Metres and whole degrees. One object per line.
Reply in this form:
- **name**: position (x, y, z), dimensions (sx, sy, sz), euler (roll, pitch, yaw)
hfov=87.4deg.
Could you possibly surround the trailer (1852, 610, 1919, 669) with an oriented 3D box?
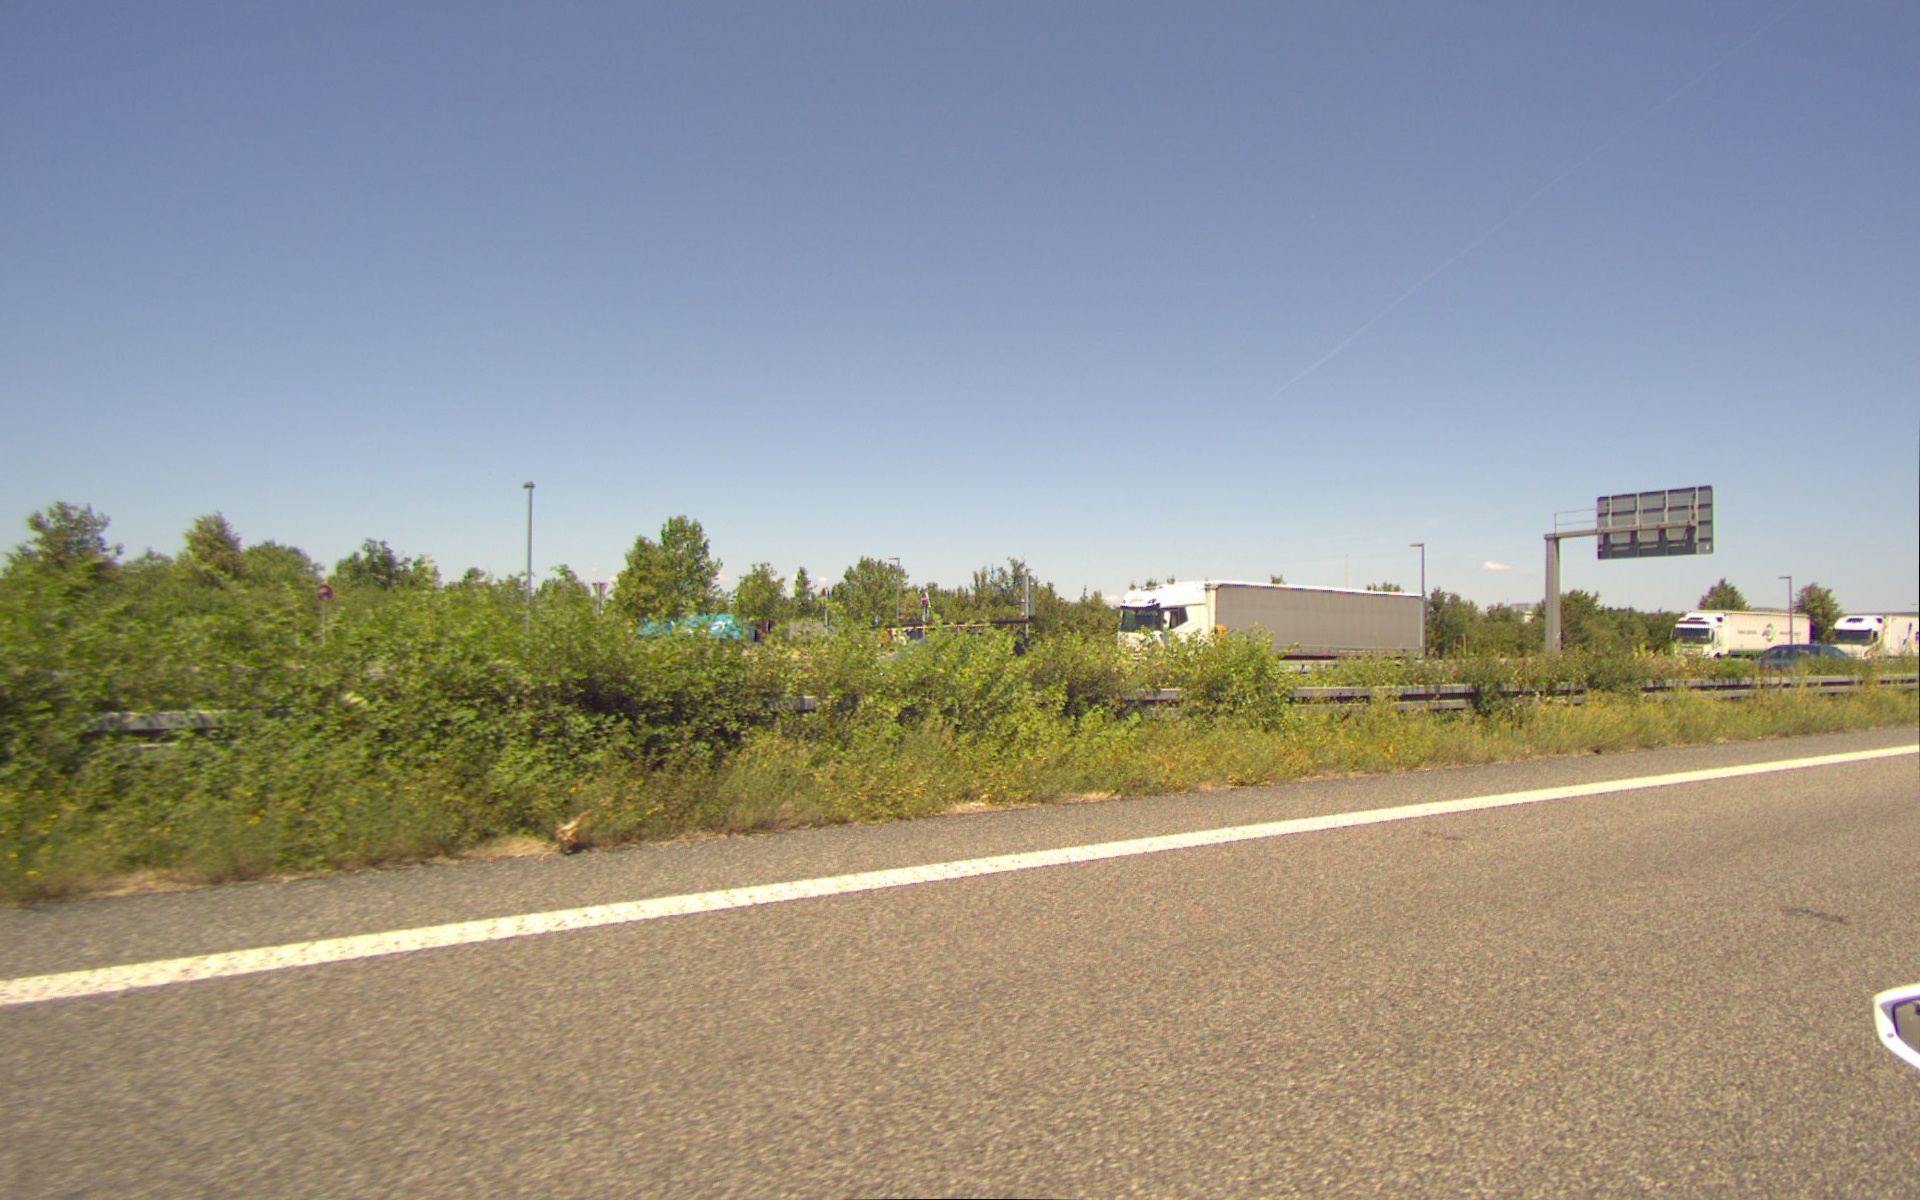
- **trailer**: position (72.395, 3.077, 77.237), dimensions (10.393, 4.275, 2.585), euler (2, 0, -31)

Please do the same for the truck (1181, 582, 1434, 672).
- **truck**: position (16.085, 1.290, 45.728), dimensions (13.448, 3.692, 2.785), euler (2, 0, -31)

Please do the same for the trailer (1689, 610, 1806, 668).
- **trailer**: position (61.722, 3.082, 78.608), dimensions (11.871, 4.211, 3.078), euler (2, 0, -31)

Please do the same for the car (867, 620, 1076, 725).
- **car**: position (0.256, 1.360, 19.627), dimensions (3.756, 1.828, 1.644), euler (2, 0, -30)

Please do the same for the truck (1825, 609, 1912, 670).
- **truck**: position (66.961, 2.907, 73.990), dimensions (7.844, 4.244, 2.569), euler (2, -1, -31)

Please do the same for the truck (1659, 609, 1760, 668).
- **truck**: position (56.271, 2.900, 75.353), dimensions (8.220, 4.207, 3.080), euler (2, 0, -31)

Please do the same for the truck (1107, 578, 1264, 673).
- **truck**: position (9.408, 1.079, 41.777), dimensions (6.075, 3.692, 2.786), euler (2, 0, -30)

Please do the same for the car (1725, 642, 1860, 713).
- **car**: position (23.792, 2.161, 28.678), dimensions (3.859, 1.828, 1.745), euler (2, 0, -30)
